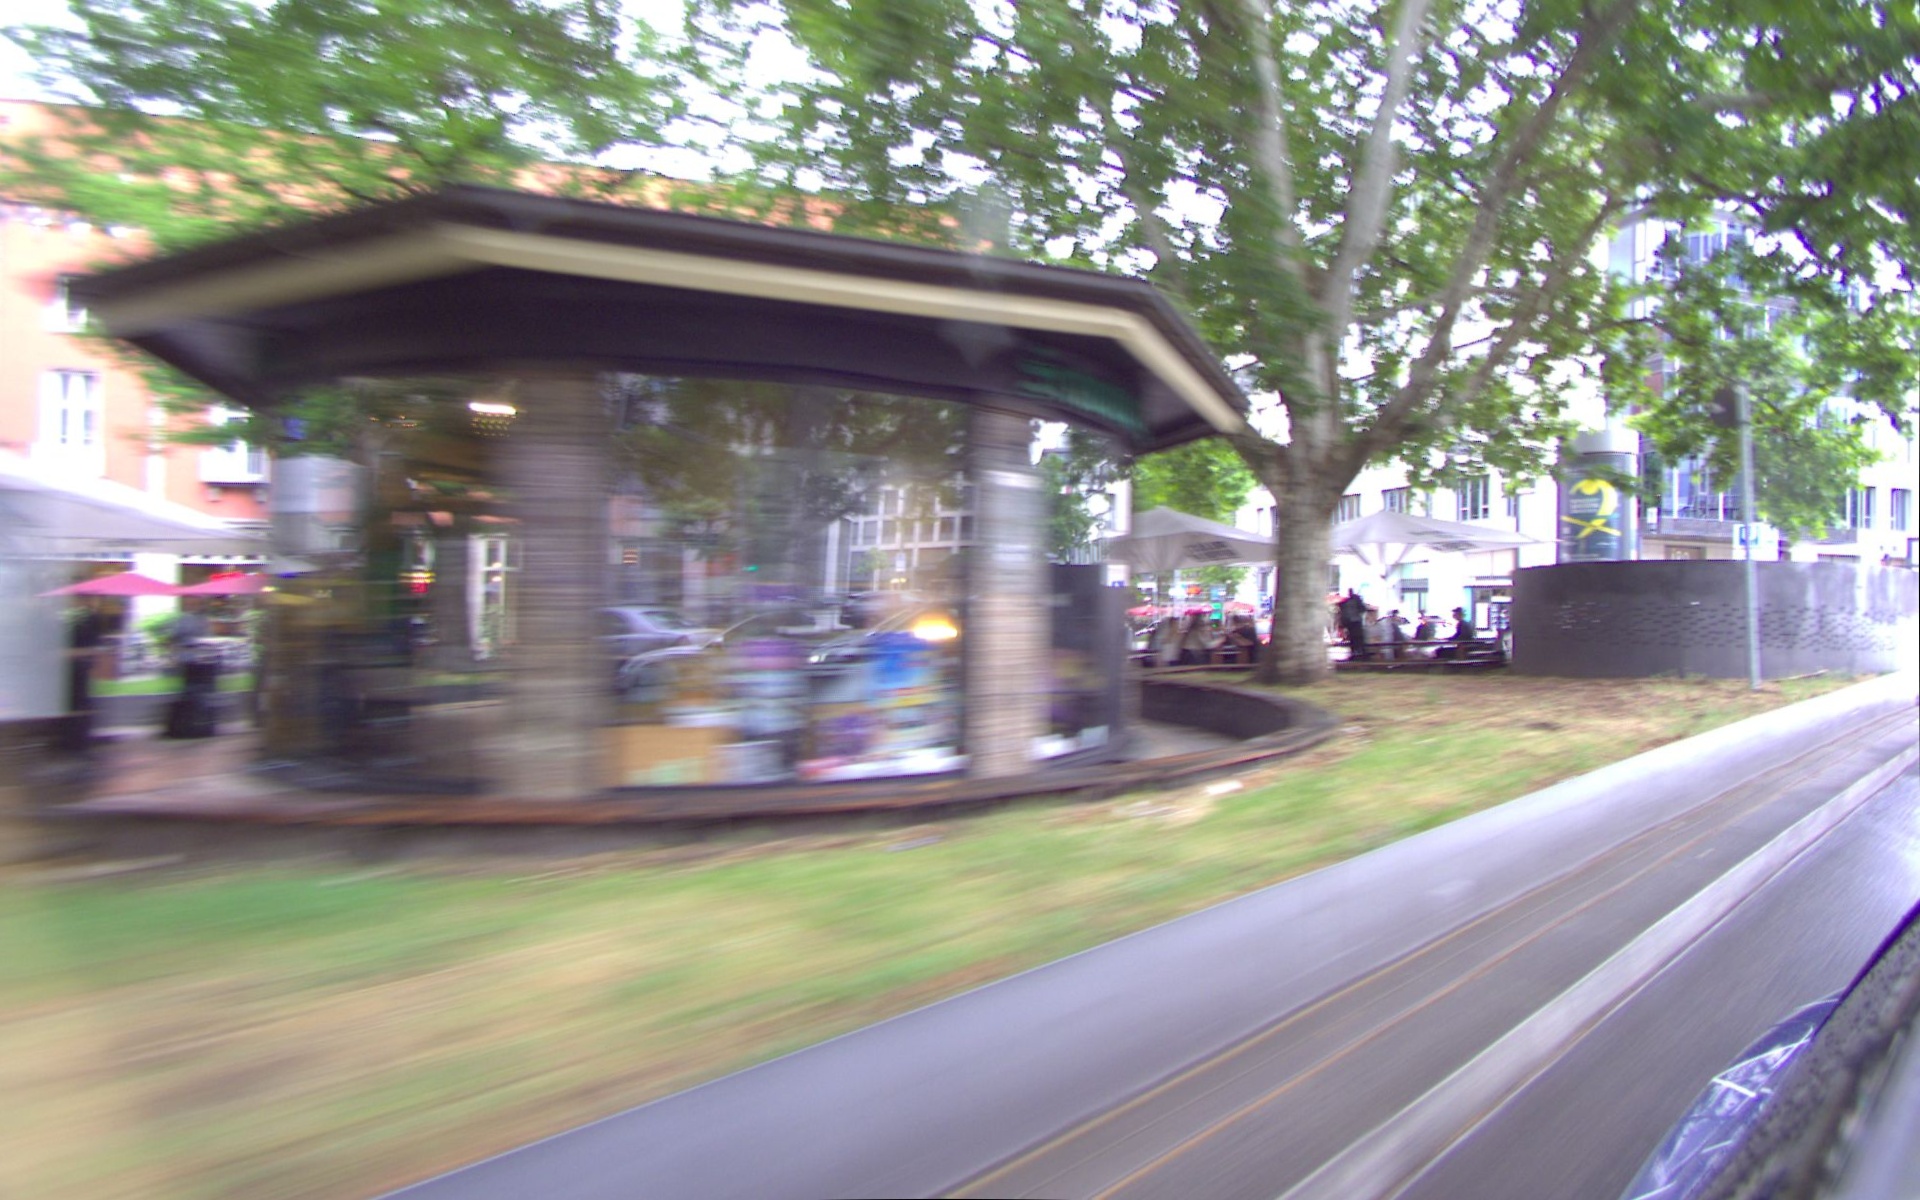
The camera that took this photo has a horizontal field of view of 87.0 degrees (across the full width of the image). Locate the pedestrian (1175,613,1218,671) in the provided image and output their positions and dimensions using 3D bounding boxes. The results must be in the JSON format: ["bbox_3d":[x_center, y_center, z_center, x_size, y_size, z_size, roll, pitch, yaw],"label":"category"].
[{"bbox_3d":[3.714,0.649,15.855,0.618,0.883,0.506,0,0,19],"label":"pedestrian"}]

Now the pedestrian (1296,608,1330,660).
[{"bbox_3d":[6.289,0.600,18.046,0.566,0.883,0.563,0,0,19],"label":"pedestrian"}]

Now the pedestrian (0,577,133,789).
[{"bbox_3d":[-7.520,0.674,8.504,0.669,1.702,0.571,-1,-1,-3],"label":"pedestrian"}]

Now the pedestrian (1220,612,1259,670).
[{"bbox_3d":[4.434,0.641,16.028,0.566,0.883,0.506,0,0,19],"label":"pedestrian"}]

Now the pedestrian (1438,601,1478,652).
[{"bbox_3d":[8.742,0.457,17.770,0.566,0.883,0.506,0,0,19],"label":"pedestrian"}]

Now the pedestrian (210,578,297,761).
[{"bbox_3d":[-6.777,0.652,9.728,0.490,1.702,0.500,-1,-1,-2],"label":"pedestrian"}]

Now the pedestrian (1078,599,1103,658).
[{"bbox_3d":[4.469,0.972,34.739,0.738,1.999,0.946,0,0,2],"label":"pedestrian"}]

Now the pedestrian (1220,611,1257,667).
[{"bbox_3d":[4.574,0.630,16.615,0.566,0.883,0.506,0,0,19],"label":"pedestrian"}]

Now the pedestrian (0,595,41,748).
[{"bbox_3d":[-10.932,0.800,11.495,0.536,1.702,0.499,-1,-1,-4],"label":"pedestrian"}]

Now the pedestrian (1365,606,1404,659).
[{"bbox_3d":[7.335,0.553,17.506,0.566,0.883,0.738,0,1,18],"label":"pedestrian"}]

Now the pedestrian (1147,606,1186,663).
[{"bbox_3d":[3.366,0.554,16.495,0.566,0.883,0.506,0,0,19],"label":"pedestrian"}]

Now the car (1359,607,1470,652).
[{"bbox_3d":[16.888,1.062,37.778,1.617,1.459,3.896,1,1,-17],"label":"car"}]

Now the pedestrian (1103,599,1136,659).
[{"bbox_3d":[5.383,0.971,34.259,0.976,1.999,0.946,0,0,2],"label":"pedestrian"}]

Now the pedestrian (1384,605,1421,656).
[{"bbox_3d":[7.944,0.540,18.172,0.566,0.883,0.506,0,0,19],"label":"pedestrian"}]

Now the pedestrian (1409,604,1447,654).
[{"bbox_3d":[8.656,0.528,18.728,0.566,0.883,0.506,0,0,19],"label":"pedestrian"}]

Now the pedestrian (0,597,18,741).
[{"bbox_3d":[-11.583,0.813,11.902,0.536,1.702,0.499,-1,-1,-4],"label":"pedestrian"}]

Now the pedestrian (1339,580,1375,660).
[{"bbox_3d":[6.565,0.322,16.756,0.523,1.292,0.401,0,0,20],"label":"pedestrian"}]
